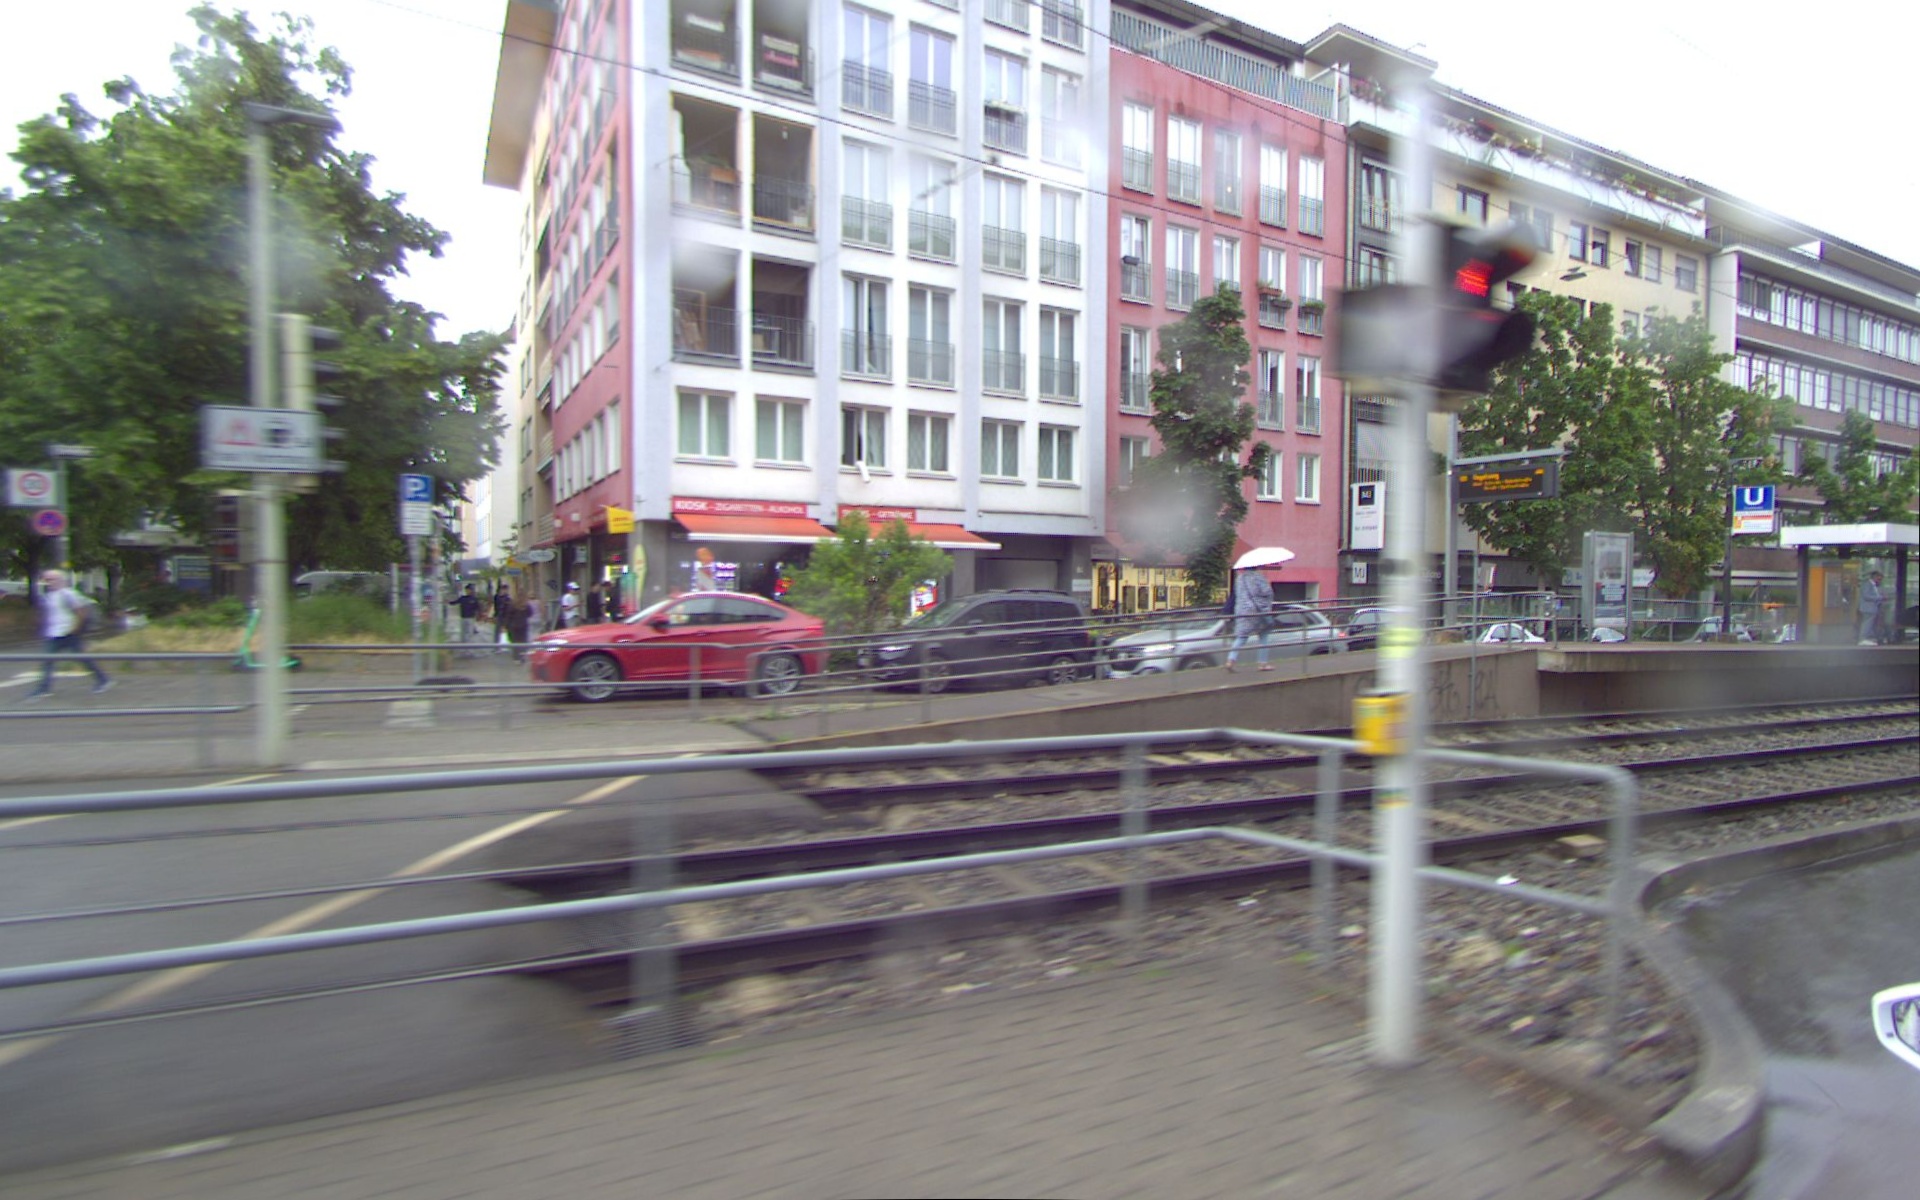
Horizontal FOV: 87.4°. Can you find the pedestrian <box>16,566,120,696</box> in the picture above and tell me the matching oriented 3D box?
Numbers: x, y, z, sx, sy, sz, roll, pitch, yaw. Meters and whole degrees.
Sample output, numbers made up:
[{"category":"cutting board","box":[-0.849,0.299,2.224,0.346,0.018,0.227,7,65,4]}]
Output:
[{"category":"pedestrian","box":[-12.368,0.416,13.960,0.977,1.720,0.813,1,1,-37]}]

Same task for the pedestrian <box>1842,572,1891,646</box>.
[{"category":"pedestrian","box":[21.737,0.220,24.075,0.840,1.734,0.652,1,0,-31]}]

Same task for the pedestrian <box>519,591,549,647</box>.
[{"category":"pedestrian","box":[-11.563,0.523,27.249,0.649,1.481,0.636,1,1,-31]}]

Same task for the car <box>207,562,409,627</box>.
[{"category":"car","box":[-27.809,-0.156,43.256,7.009,2.567,2.406,1,-1,-28]}]

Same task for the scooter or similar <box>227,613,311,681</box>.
[{"category":"scooter or similar","box":[-12.650,0.861,18.410,1.196,1.207,0.387,2,-1,-28]}]

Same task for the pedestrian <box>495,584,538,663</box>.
[{"category":"pedestrian","box":[-9.554,0.493,21.644,0.796,1.653,0.877,-1,1,-24]}]

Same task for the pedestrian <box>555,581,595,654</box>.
[{"category":"pedestrian","box":[-8.982,0.402,23.443,0.570,1.653,0.609,3,1,35]}]

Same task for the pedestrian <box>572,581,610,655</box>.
[{"category":"pedestrian","box":[-8.469,0.414,23.070,0.535,1.653,0.574,2,1,25]}]

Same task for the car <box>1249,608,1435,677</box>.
[{"category":"car","box":[8.814,0.946,23.079,4.272,1.455,1.830,1,-1,-32]}]

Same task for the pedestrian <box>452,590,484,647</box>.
[{"category":"pedestrian","box":[-12.546,0.467,25.627,0.651,1.402,0.687,1,1,-31]}]

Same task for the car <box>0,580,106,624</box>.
[{"category":"car","box":[-48.912,0.129,53.596,4.808,2.239,1.893,1,-1,-31]}]

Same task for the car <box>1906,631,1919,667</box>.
[{"category":"car","box":[41.151,2.038,41.873,4.132,1.455,1.559,1,-1,-32]}]

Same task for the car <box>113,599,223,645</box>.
[{"category":"car","box":[-25.658,0.709,32.690,1.974,1.392,3.973,2,-1,-27]}]

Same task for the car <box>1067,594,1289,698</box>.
[{"category":"car","box":[4.421,0.878,20.158,4.331,1.883,1.793,1,-1,-32]}]

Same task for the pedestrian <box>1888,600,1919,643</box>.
[{"category":"pedestrian","box":[25.457,0.576,26.832,0.843,1.138,0.885,1,0,-39]}]

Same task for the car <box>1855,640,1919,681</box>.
[{"category":"car","box":[36.611,2.320,39.106,4.192,1.455,1.559,1,-1,-32]}]

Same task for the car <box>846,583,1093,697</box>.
[{"category":"car","box":[0.227,0.702,18.375,4.272,1.883,1.698,1,-1,-32]}]

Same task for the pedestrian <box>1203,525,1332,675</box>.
[{"category":"pedestrian","box":[4.418,0.028,14.460,1.366,2.040,1.111,2,-1,-29]}]

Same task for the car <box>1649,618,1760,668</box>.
[{"category":"car","box":[23.213,1.324,31.296,3.695,1.455,1.559,1,-1,-32]}]

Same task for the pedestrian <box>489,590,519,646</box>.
[{"category":"pedestrian","box":[-11.912,0.470,26.226,0.643,1.424,0.556,1,1,-31]}]

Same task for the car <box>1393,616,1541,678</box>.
[{"category":"car","box":[12.864,1.159,25.436,3.935,1.455,1.559,1,-1,-32]}]

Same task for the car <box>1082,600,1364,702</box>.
[{"category":"car","box":[4.699,0.844,17.727,4.959,1.599,1.799,1,-1,-29]}]

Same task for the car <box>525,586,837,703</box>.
[{"category":"car","box":[-4.345,0.650,15.811,4.495,1.633,1.719,1,0,-28]}]

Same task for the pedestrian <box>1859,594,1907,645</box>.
[{"category":"pedestrian","box":[23.518,0.499,25.586,0.874,1.265,0.689,1,0,-31]}]
